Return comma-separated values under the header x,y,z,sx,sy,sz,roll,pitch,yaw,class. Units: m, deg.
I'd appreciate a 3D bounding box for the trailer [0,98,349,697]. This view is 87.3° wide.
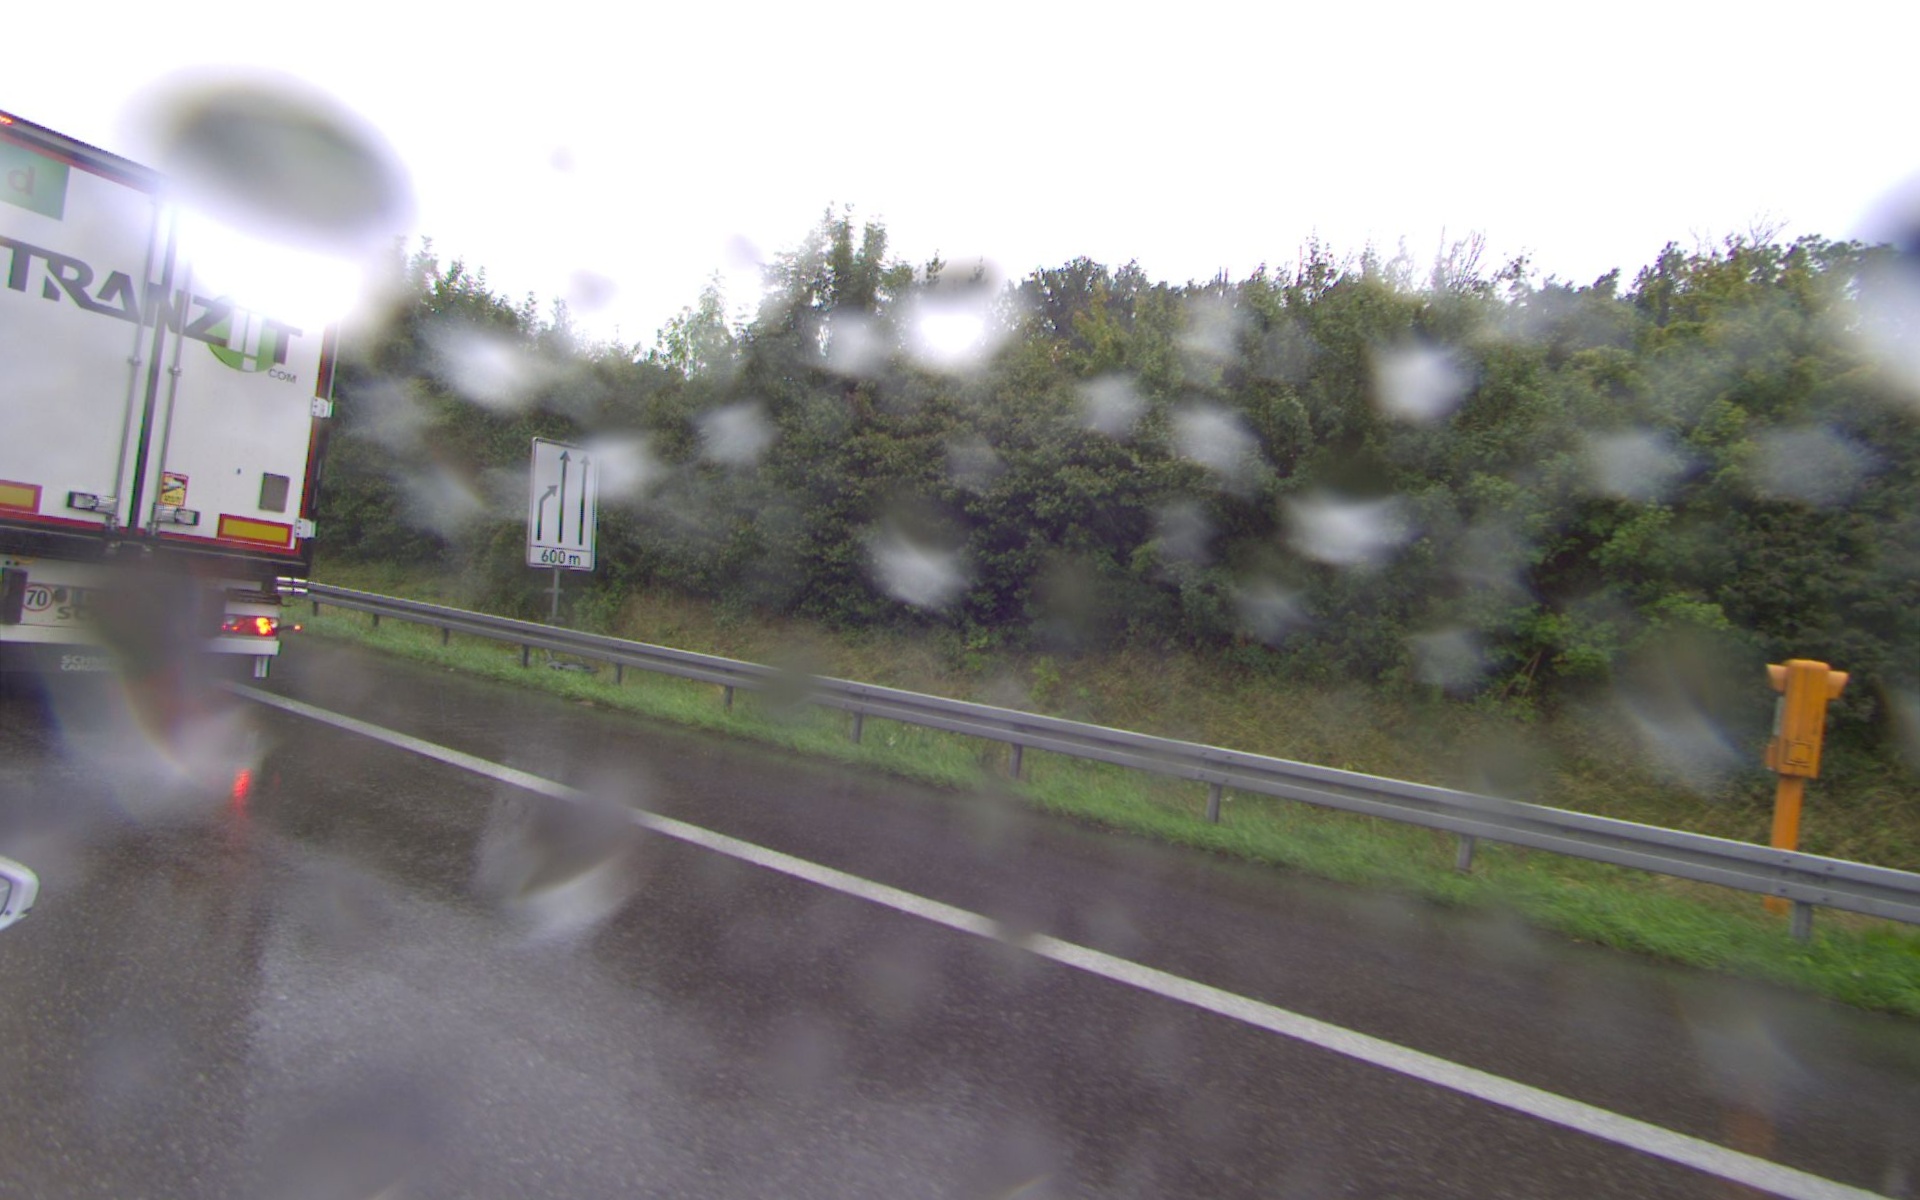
x,y,z,sx,sy,sz,roll,pitch,yaw,class
-12.273,-2.030,11.434,14.387,4.061,2.634,7,0,32,trailer
